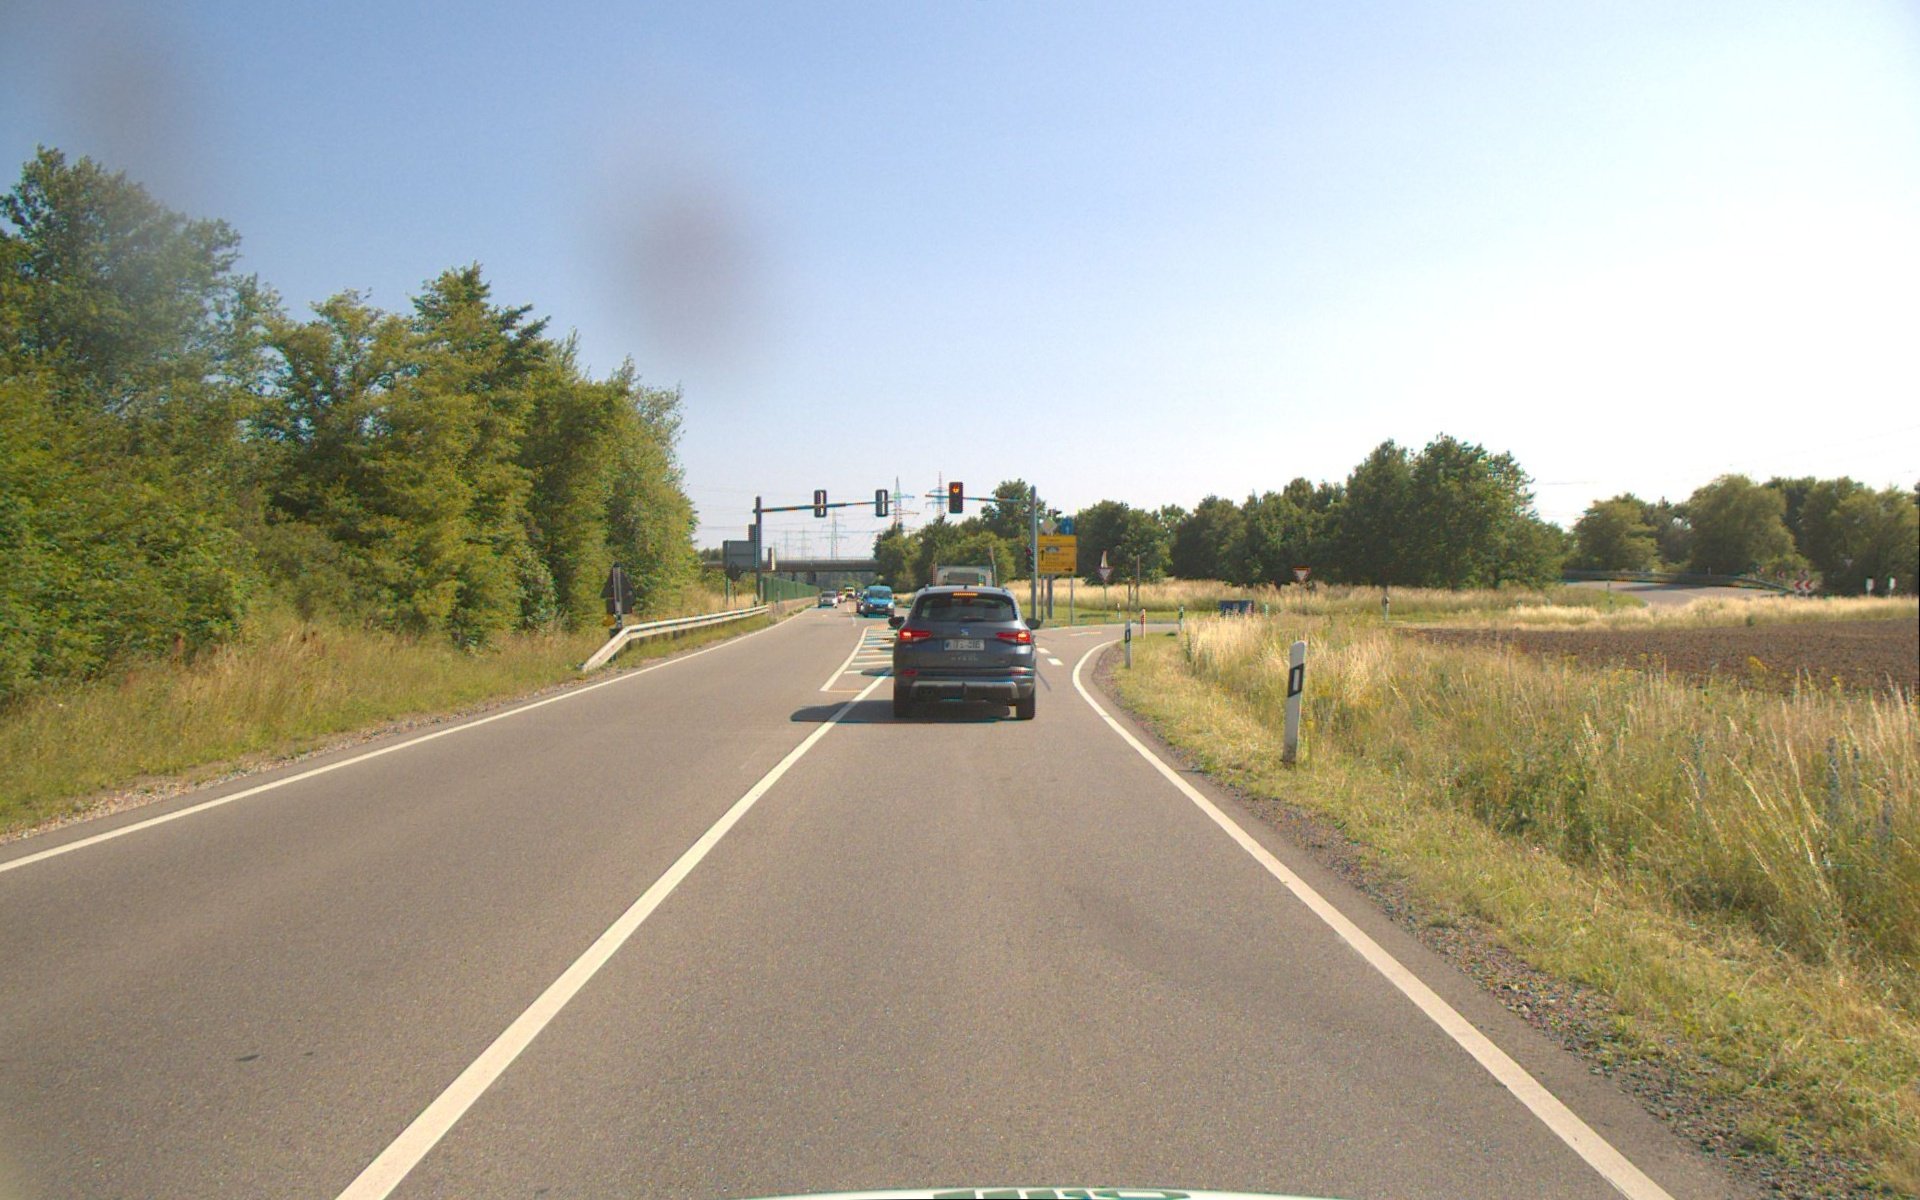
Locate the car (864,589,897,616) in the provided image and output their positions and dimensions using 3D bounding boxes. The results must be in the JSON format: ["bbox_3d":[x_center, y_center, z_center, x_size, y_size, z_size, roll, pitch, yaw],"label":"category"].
[{"bbox_3d":[-4.711,0.134,97.118,1.781,1.567,3.996,-1,0,-5],"label":"car"}]

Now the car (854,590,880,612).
[{"bbox_3d":[-6.180,0.060,109.338,1.651,1.404,3.530,0,1,-5],"label":"car"}]

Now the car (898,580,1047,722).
[{"bbox_3d":[0.101,0.572,21.385,1.749,1.657,3.999,0,1,-1],"label":"car"}]

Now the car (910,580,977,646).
[{"bbox_3d":[-0.495,0.319,45.500,1.749,1.705,3.999,0,1,-2],"label":"car"}]

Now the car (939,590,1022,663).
[{"bbox_3d":[0.426,0.577,38.291,1.749,1.570,3.999,0,1,-2],"label":"car"}]

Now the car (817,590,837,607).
[{"bbox_3d":[-12.092,-0.158,150.119,1.789,1.456,3.996,-1,0,-5],"label":"car"}]

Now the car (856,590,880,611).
[{"bbox_3d":[-6.572,0.008,117.734,1.651,1.404,3.530,0,1,-5],"label":"car"}]

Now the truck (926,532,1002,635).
[{"bbox_3d":[0.114,-0.503,53.261,2.290,3.120,5.809,0,0,0],"label":"truck"}]
